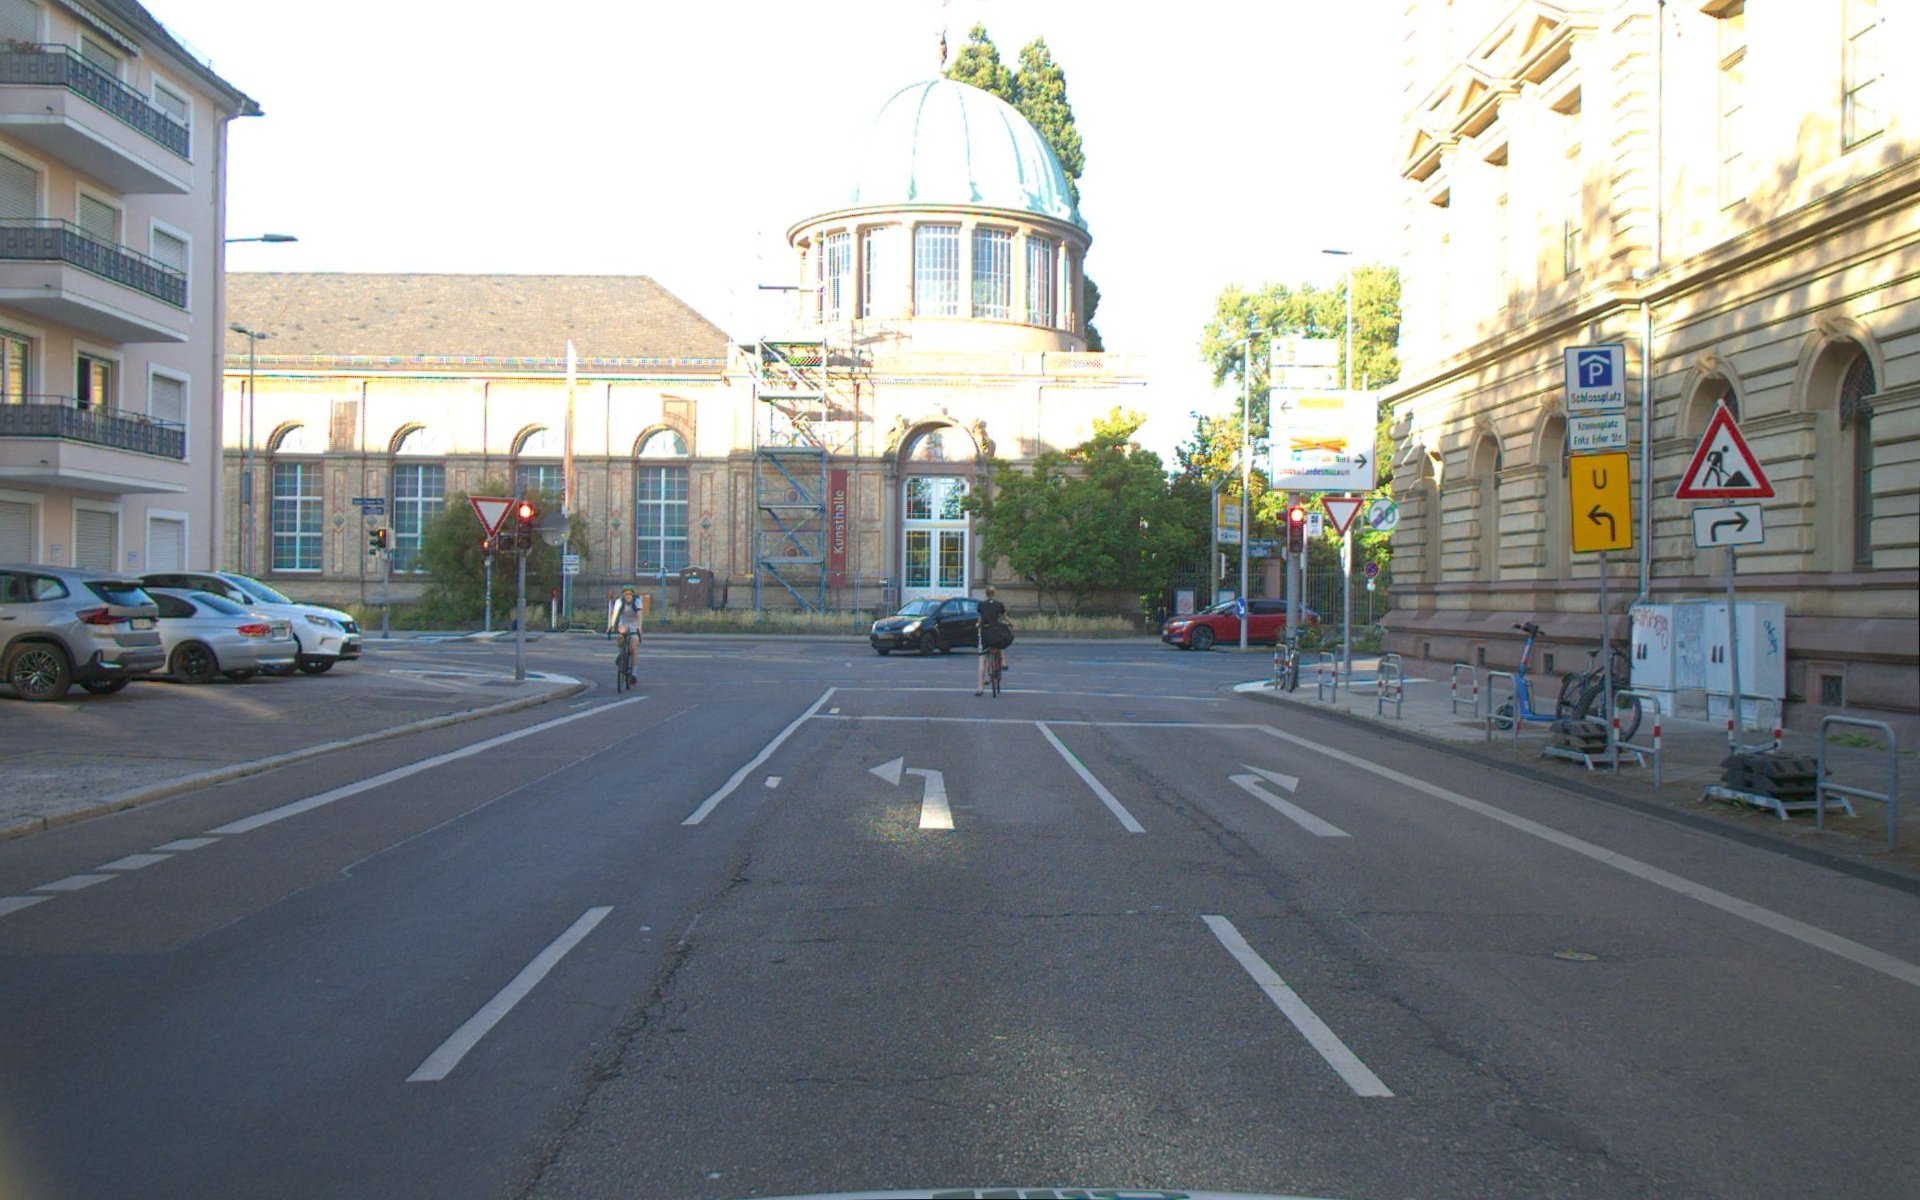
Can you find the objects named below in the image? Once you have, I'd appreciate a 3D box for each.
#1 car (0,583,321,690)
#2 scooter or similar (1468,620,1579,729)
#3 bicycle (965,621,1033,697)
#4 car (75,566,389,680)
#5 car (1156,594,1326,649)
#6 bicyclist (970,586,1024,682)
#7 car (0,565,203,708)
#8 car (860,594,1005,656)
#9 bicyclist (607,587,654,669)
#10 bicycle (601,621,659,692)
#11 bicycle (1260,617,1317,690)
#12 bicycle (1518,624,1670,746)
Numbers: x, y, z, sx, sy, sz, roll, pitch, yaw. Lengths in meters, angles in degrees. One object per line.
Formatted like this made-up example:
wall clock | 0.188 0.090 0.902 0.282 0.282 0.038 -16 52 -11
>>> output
car | -12.133 0.531 25.059 4.181 1.404 1.735 2 0 -3
scooter or similar | 6.528 0.850 19.186 1.106 1.216 0.584 1 0 6
bicycle | 0.651 0.943 26.806 0.696 1.176 2.070 0 -2 13
car | -12.128 0.367 27.789 4.352 1.669 1.941 2 0 -3
car | 8.461 0.626 50.010 4.745 1.572 1.832 -1 0 -11
bicyclist | 0.606 0.547 26.639 0.701 1.529 0.851 0 -2 13
car | -12.095 0.385 20.649 4.330 1.633 1.915 2 0 -3
car | -0.691 0.624 43.517 1.635 1.497 3.828 0 1 44
bicyclist | -5.695 0.487 28.638 0.612 1.388 0.929 0 -2 -1
bicycle | -5.692 0.972 28.626 0.612 1.176 2.052 0 -2 -1
bicycle | 5.635 0.916 28.470 0.570 1.209 1.919 0 -2 -1
bicycle | 6.707 0.871 17.614 0.810 1.154 1.944 -2 0 -1
